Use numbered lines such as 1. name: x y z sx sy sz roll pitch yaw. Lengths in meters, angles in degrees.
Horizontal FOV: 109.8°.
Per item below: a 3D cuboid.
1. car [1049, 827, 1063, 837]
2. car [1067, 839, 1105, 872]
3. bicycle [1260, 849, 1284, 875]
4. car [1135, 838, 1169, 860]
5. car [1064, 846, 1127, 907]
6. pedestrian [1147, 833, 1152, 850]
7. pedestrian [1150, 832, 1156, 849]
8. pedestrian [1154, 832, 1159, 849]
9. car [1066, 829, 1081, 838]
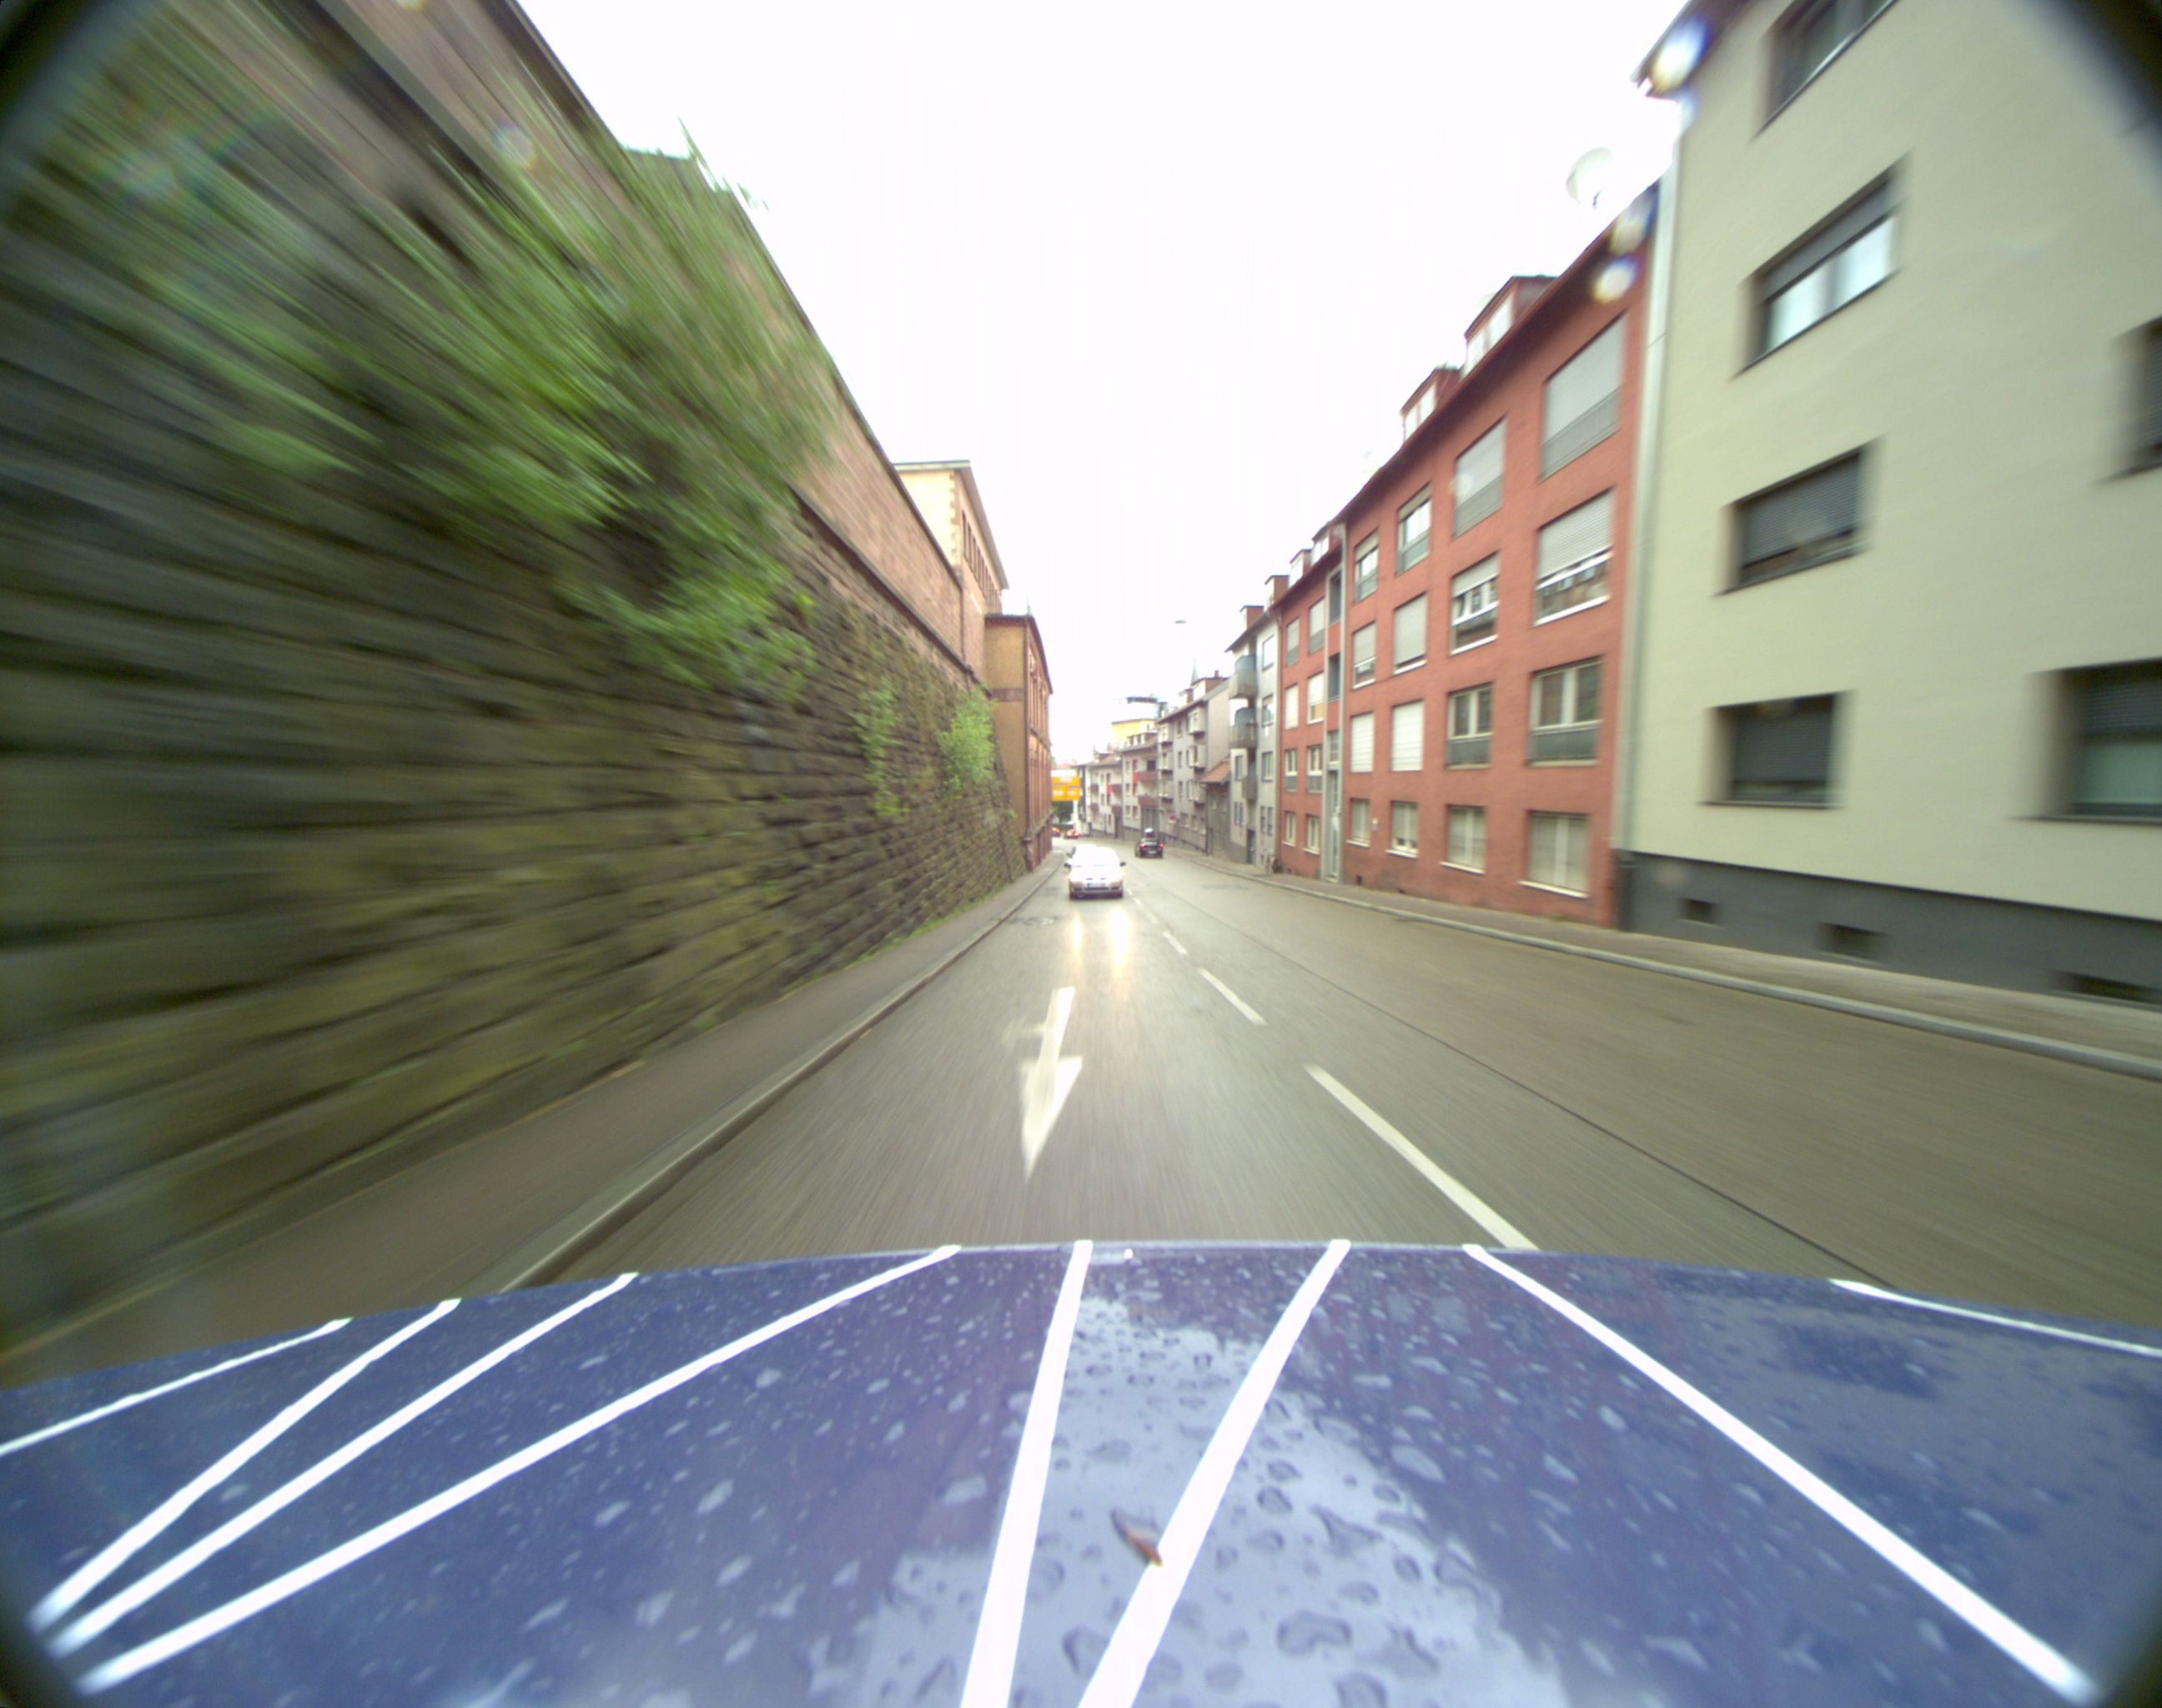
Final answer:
1. car: -4.463 -3.903 135.385 1.835 1.695 4.072 -3 3 -9
2. car: 0.228 0.039 41.272 1.720 1.528 3.997 -3 2 -3
3. bicycle: 8.990 0.369 35.827 0.572 1.111 2.039 -4 2 1
4. car: 5.324 -0.408 57.341 1.999 1.470 3.997 1 2 -3
5. car: 0.424 0.629 23.848 1.720 1.528 3.998 -3 2 0
6. pedestrian: 7.218 -1.359 80.274 0.387 1.770 0.499 -3 3 -9
7. pedestrian: 7.621 -1.381 80.332 0.381 1.770 0.499 -3 3 -9
8. pedestrian: 8.014 -1.402 80.413 0.355 1.770 0.499 -3 3 -9
9. car: -1.080 -3.092 113.932 1.714 1.317 3.367 -3 3 -9
